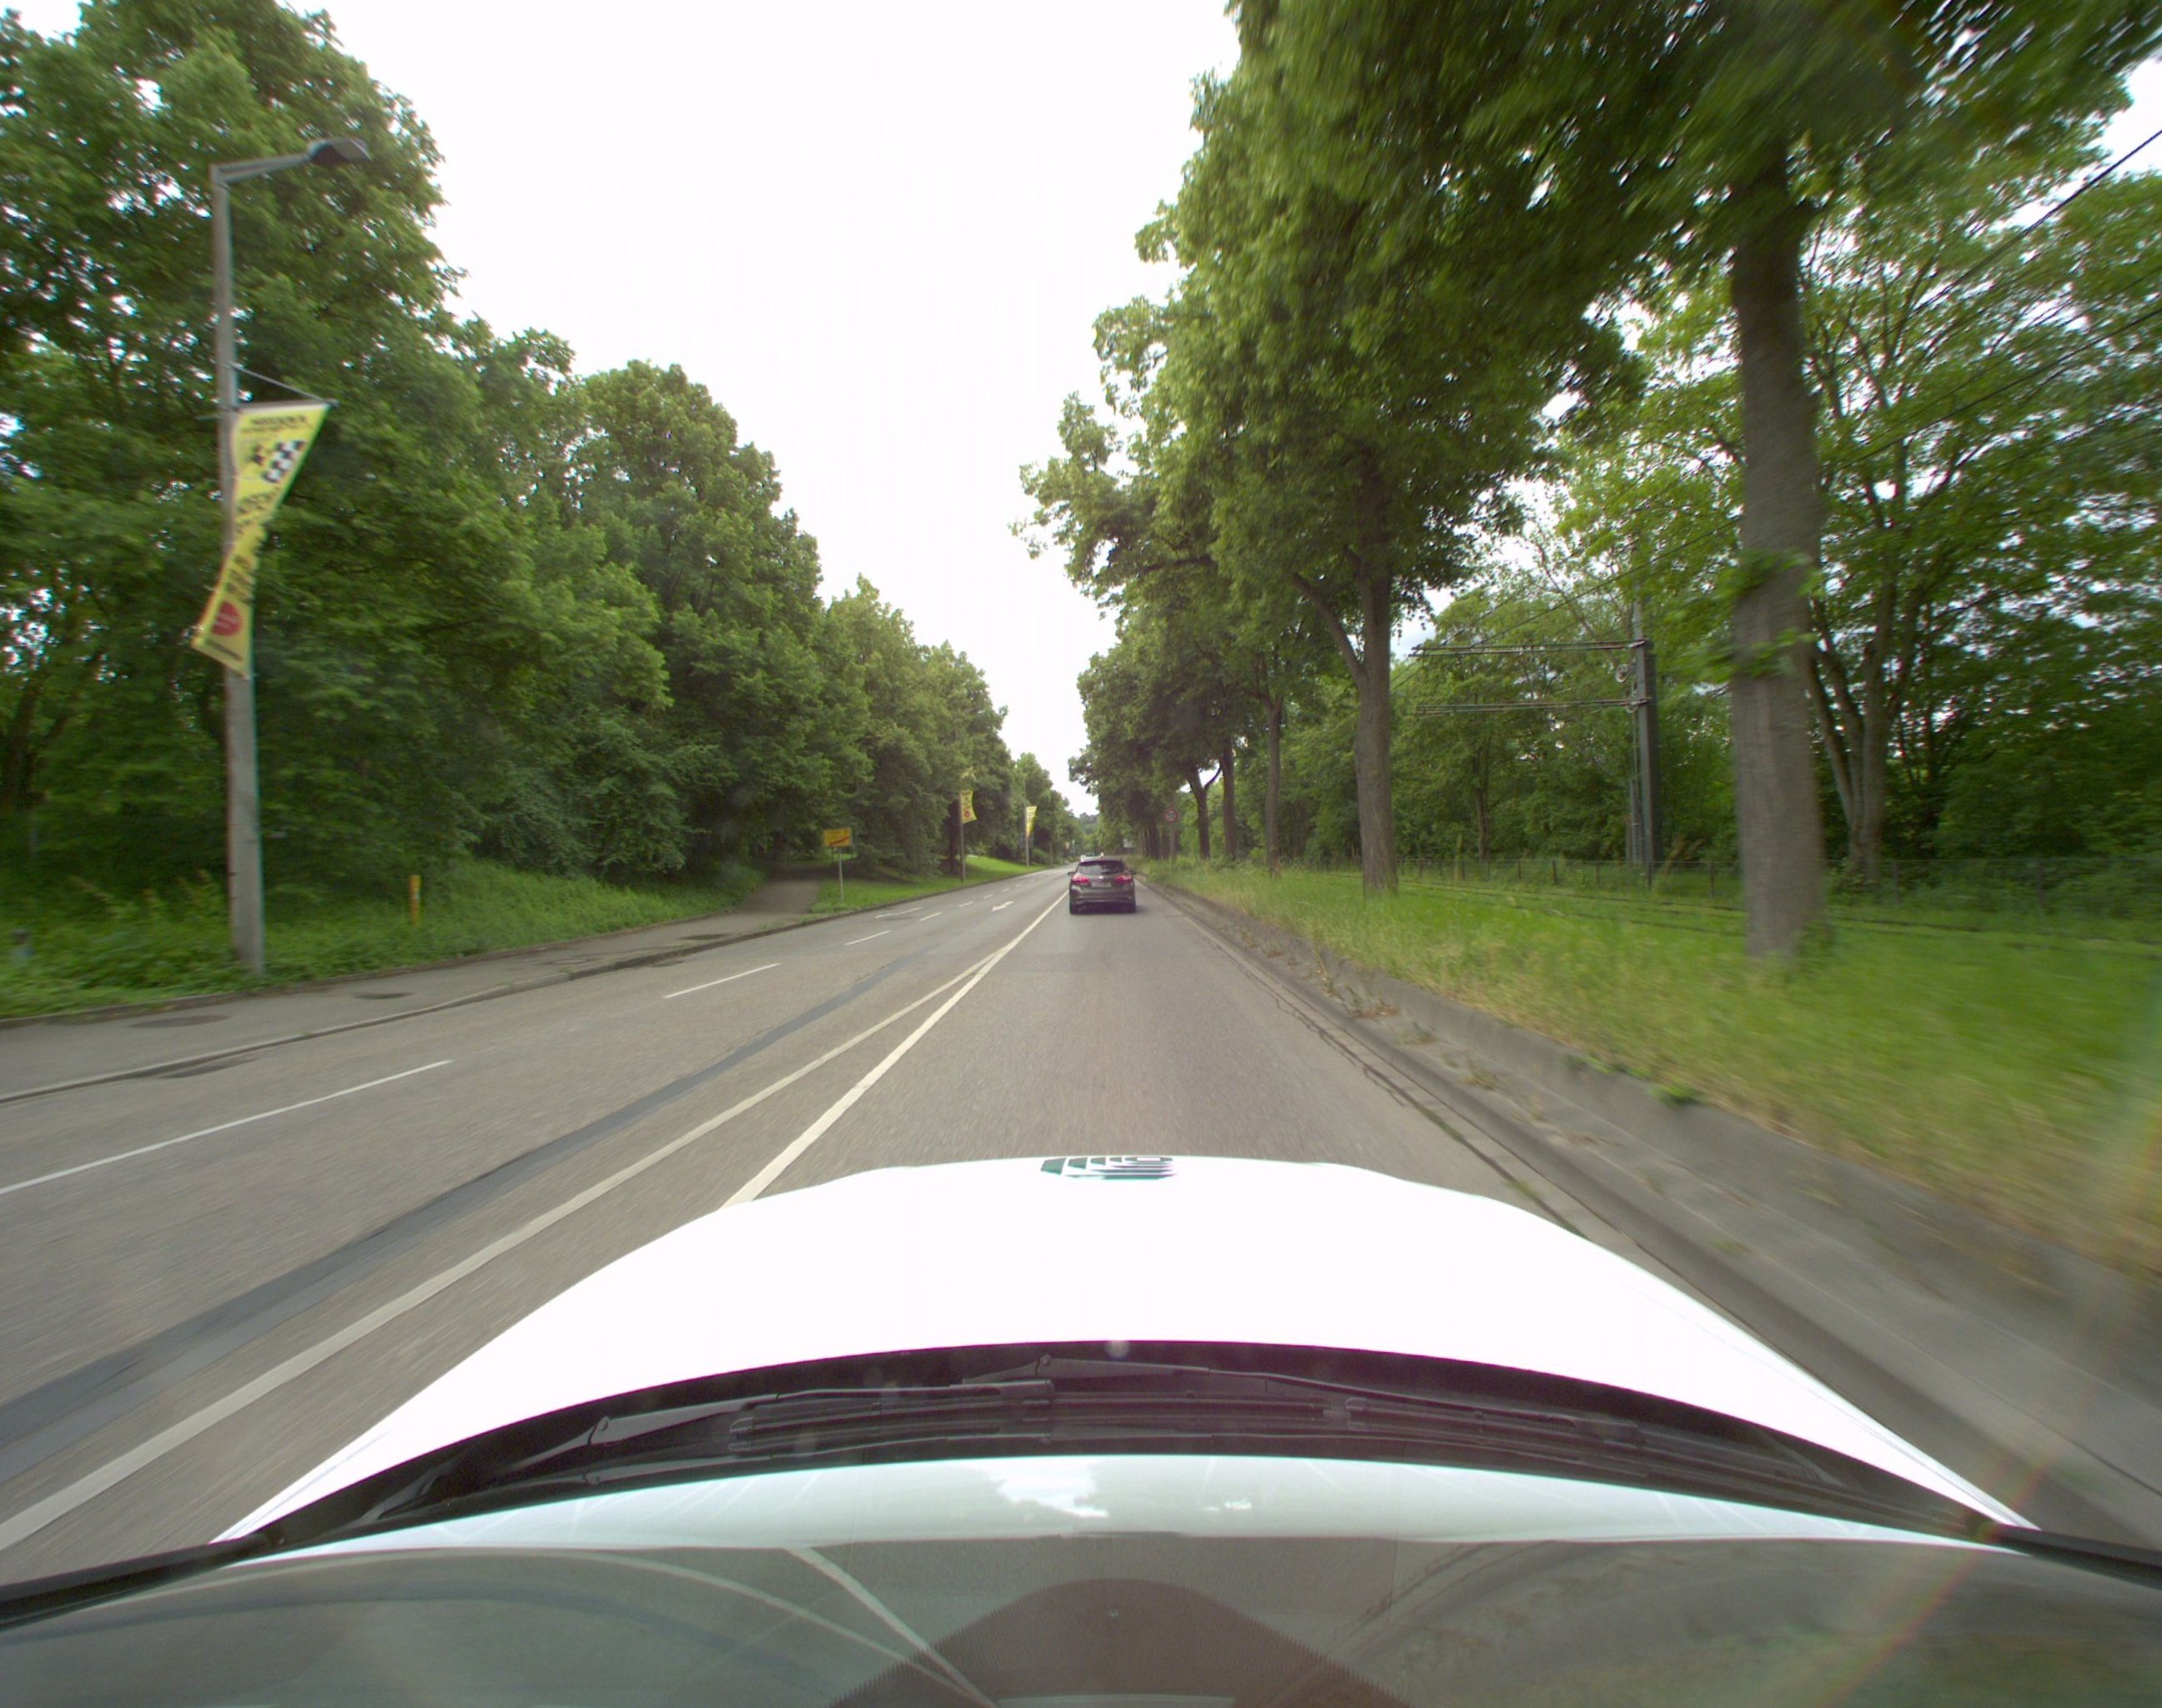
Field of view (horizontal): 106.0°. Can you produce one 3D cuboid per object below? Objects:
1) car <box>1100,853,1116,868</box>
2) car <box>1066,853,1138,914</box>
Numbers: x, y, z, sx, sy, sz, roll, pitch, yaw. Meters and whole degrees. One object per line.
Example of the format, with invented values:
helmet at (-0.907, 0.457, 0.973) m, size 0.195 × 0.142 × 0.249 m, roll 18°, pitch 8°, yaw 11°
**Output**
car at (2.812, 0.643, 84.552) m, size 1.497 × 1.528 × 3.674 m, roll -1°, pitch 0°, yaw 3°
car at (0.657, 0.770, 22.993) m, size 1.829 × 1.528 × 3.932 m, roll -1°, pitch 0°, yaw 3°
